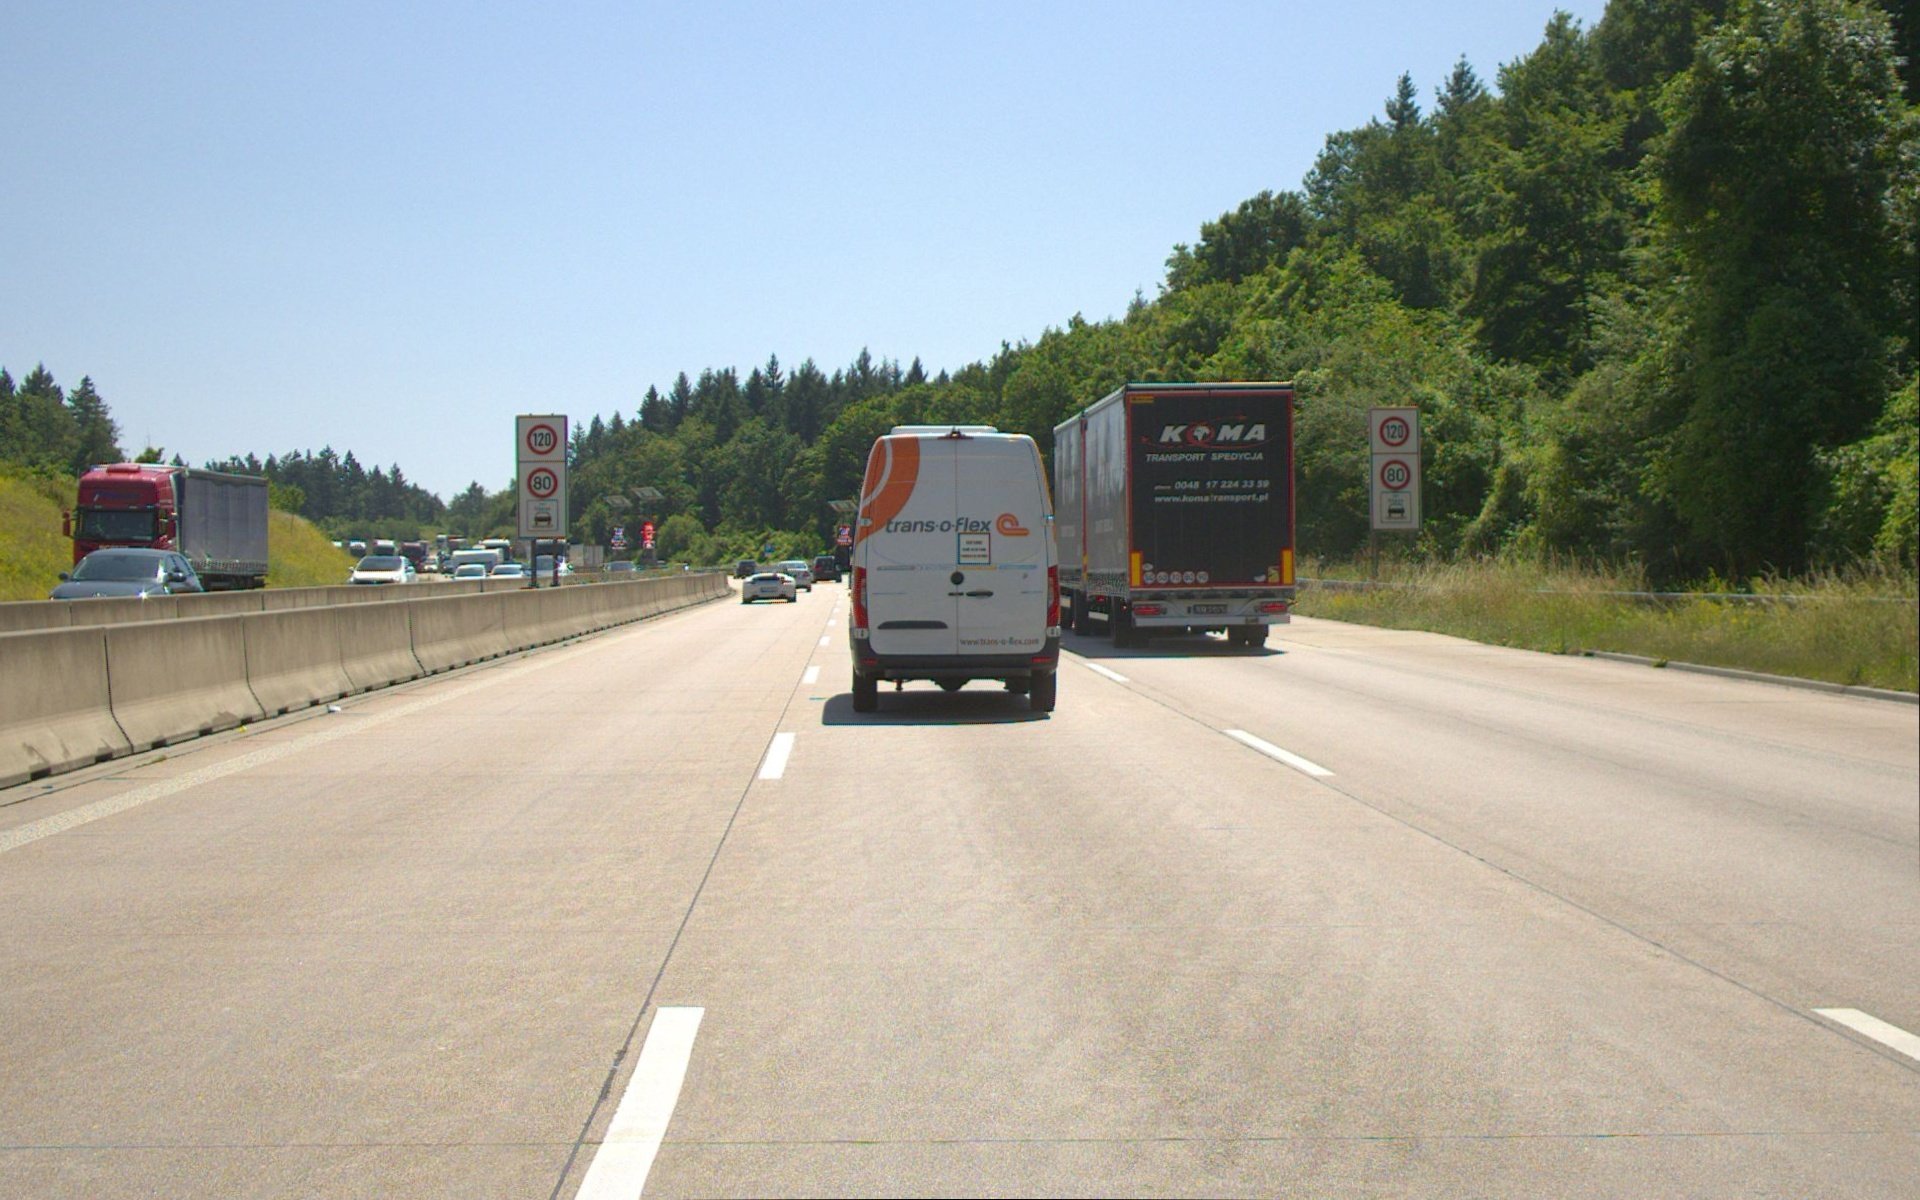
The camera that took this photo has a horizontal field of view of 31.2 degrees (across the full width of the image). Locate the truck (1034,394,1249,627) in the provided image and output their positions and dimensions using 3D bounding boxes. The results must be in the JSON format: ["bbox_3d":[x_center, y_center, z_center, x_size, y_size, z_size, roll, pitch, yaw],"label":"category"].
[{"bbox_3d":[3.295,-1.621,65.487,3.159,4.003,10.608,-1,1,-2],"label":"truck"}]

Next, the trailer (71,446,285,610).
[{"bbox_3d":[-22.572,-1.955,100.186,3.386,4.416,13.925,1,0,-2],"label":"trailer"}]

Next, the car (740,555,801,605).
[{"bbox_3d":[-6.547,-0.676,119.132,1.993,1.678,4.000,1,0,-2],"label":"car"}]

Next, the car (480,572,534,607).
[{"bbox_3d":[-20.720,-0.506,157.510,1.993,1.553,4.499,0,1,-2],"label":"car"}]

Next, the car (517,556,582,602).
[{"bbox_3d":[-15.241,-0.806,127.860,1.993,1.686,4.372,0,1,-2],"label":"car"}]

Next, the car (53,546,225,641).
[{"bbox_3d":[-13.836,-0.134,58.162,1.993,1.533,4.196,1,1,-2],"label":"car"}]

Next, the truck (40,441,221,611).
[{"bbox_3d":[-22.372,-1.942,93.107,3.386,4.416,6.801,1,0,-2],"label":"truck"}]

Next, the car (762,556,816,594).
[{"bbox_3d":[-7.743,-1.110,155.466,1.993,1.678,4.001,1,0,-9],"label":"car"}]

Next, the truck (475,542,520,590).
[{"bbox_3d":[-33.327,-2.433,247.860,2.725,3.401,4.513,1,0,-2],"label":"truck"}]

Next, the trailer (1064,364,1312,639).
[{"bbox_3d":[3.534,-1.515,55.627,3.134,4.003,9.088,-1,1,-1],"label":"trailer"}]

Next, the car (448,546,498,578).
[{"bbox_3d":[-25.428,-1.981,179.613,1.993,1.654,5.374,0,1,-1],"label":"car"}]

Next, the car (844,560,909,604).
[{"bbox_3d":[-3.306,-0.696,135.037,1.993,1.678,4.001,1,0,-10],"label":"car"}]

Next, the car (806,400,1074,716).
[{"bbox_3d":[-0.300,-0.439,34.127,2.226,2.834,5.455,-1,1,-4],"label":"car"}]

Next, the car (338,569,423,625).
[{"bbox_3d":[-18.238,-0.112,108.401,1.993,1.686,4.816,0,1,-2],"label":"car"}]

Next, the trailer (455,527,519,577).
[{"bbox_3d":[-25.579,-2.586,186.214,2.606,2.622,7.782,0,1,-1],"label":"trailer"}]
